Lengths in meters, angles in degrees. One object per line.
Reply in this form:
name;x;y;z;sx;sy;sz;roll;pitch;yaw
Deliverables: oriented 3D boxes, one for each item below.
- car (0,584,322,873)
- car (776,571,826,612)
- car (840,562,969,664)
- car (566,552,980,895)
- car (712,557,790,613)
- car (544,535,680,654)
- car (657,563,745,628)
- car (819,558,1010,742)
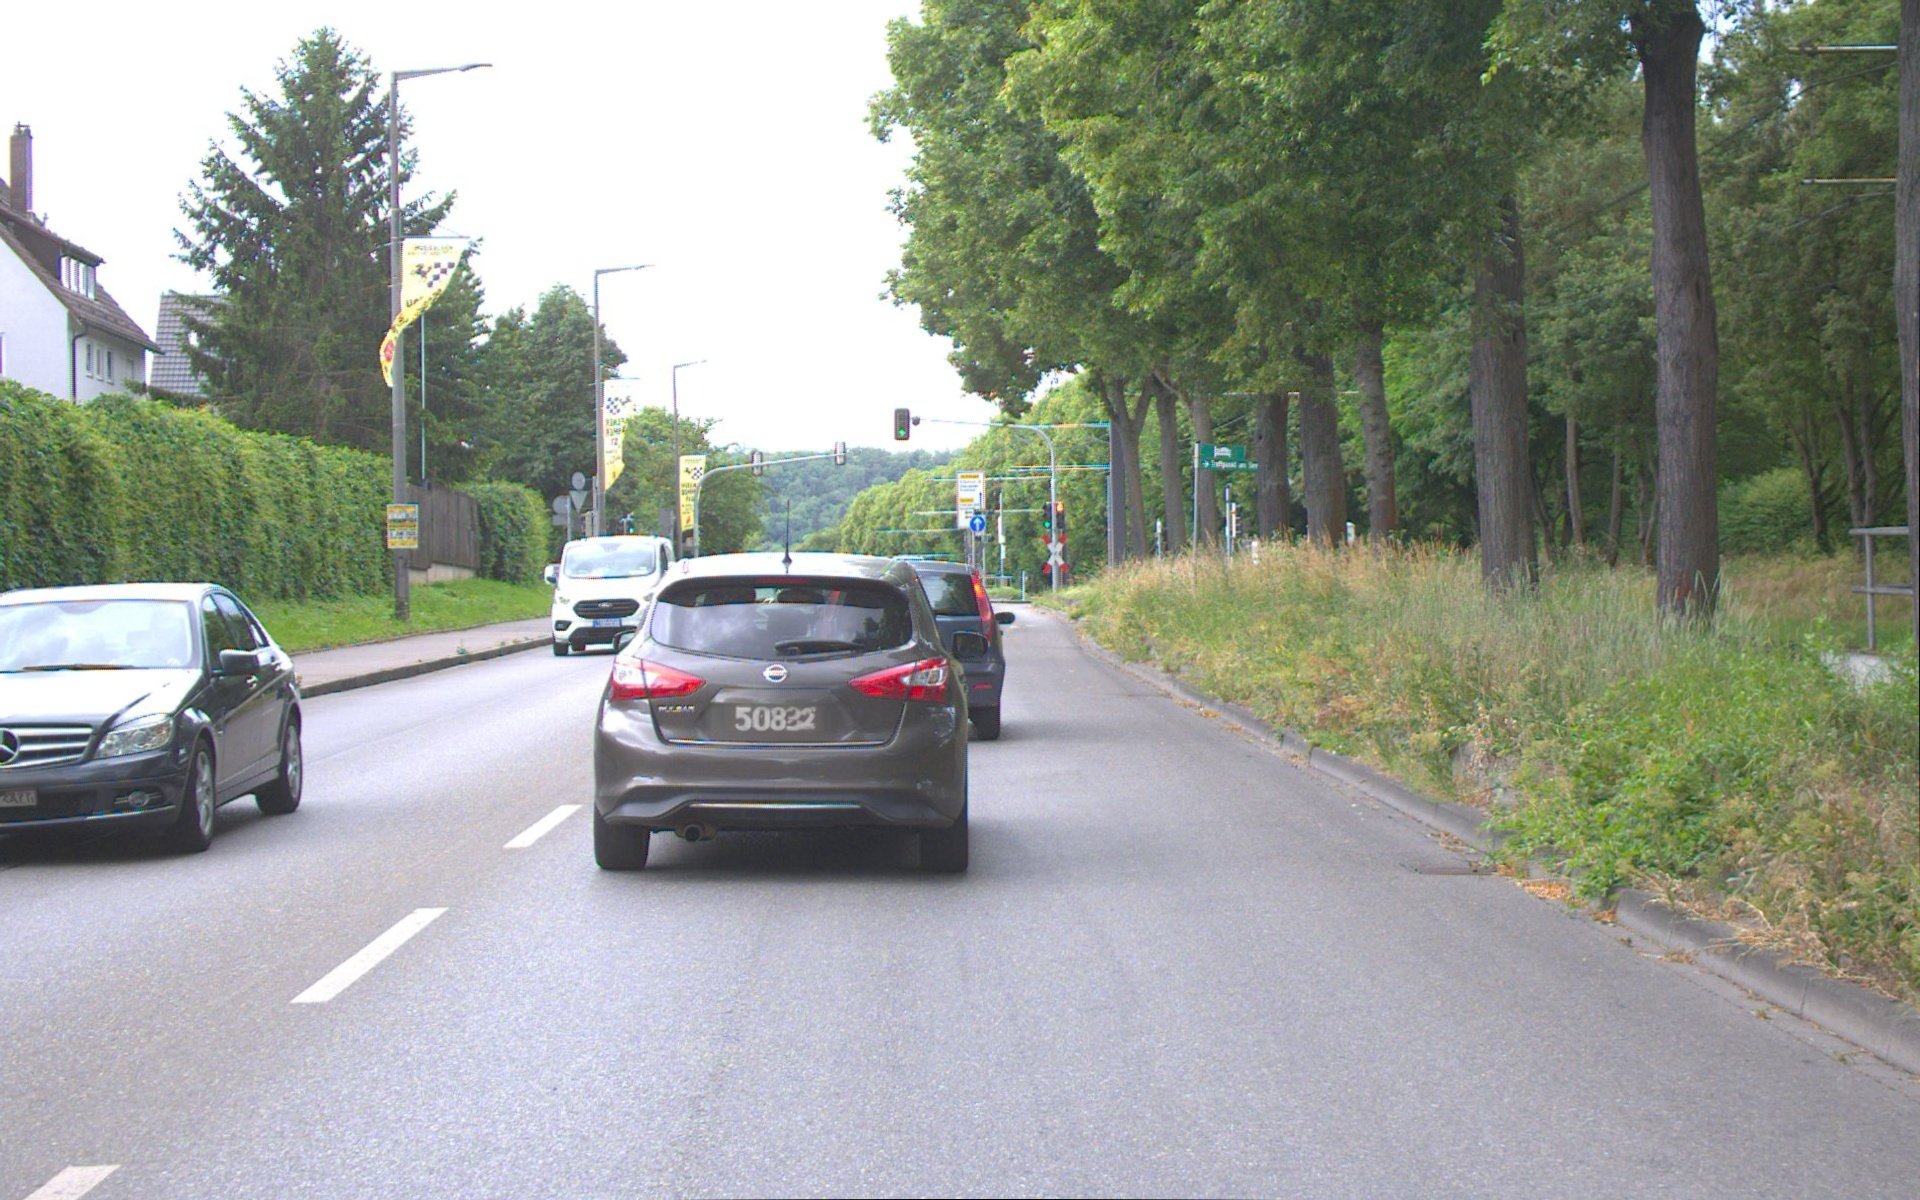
car;-4.798;0.643;19.214;1.732;1.370;4.240;-2;1;-1
car;-5.965;-0.327;129.431;1.728;1.459;4.154;-2;1;-1
car;-0.795;0.156;49.925;1.792;1.392;4.000;-1;1;-1
car;-0.866;0.526;17.706;1.835;1.514;4.483;1;1;-1
car;-5.421;-0.406;89.587;1.886;1.378;4.491;-2;1;-2
car;-5.943;-0.133;59.175;1.906;1.925;4.911;-1;1;-1
car;-5.724;-0.123;76.334;1.650;1.343;4.478;-2;1;-1
car;-0.388;0.383;29.733;1.538;1.473;3.764;0;1;-1
